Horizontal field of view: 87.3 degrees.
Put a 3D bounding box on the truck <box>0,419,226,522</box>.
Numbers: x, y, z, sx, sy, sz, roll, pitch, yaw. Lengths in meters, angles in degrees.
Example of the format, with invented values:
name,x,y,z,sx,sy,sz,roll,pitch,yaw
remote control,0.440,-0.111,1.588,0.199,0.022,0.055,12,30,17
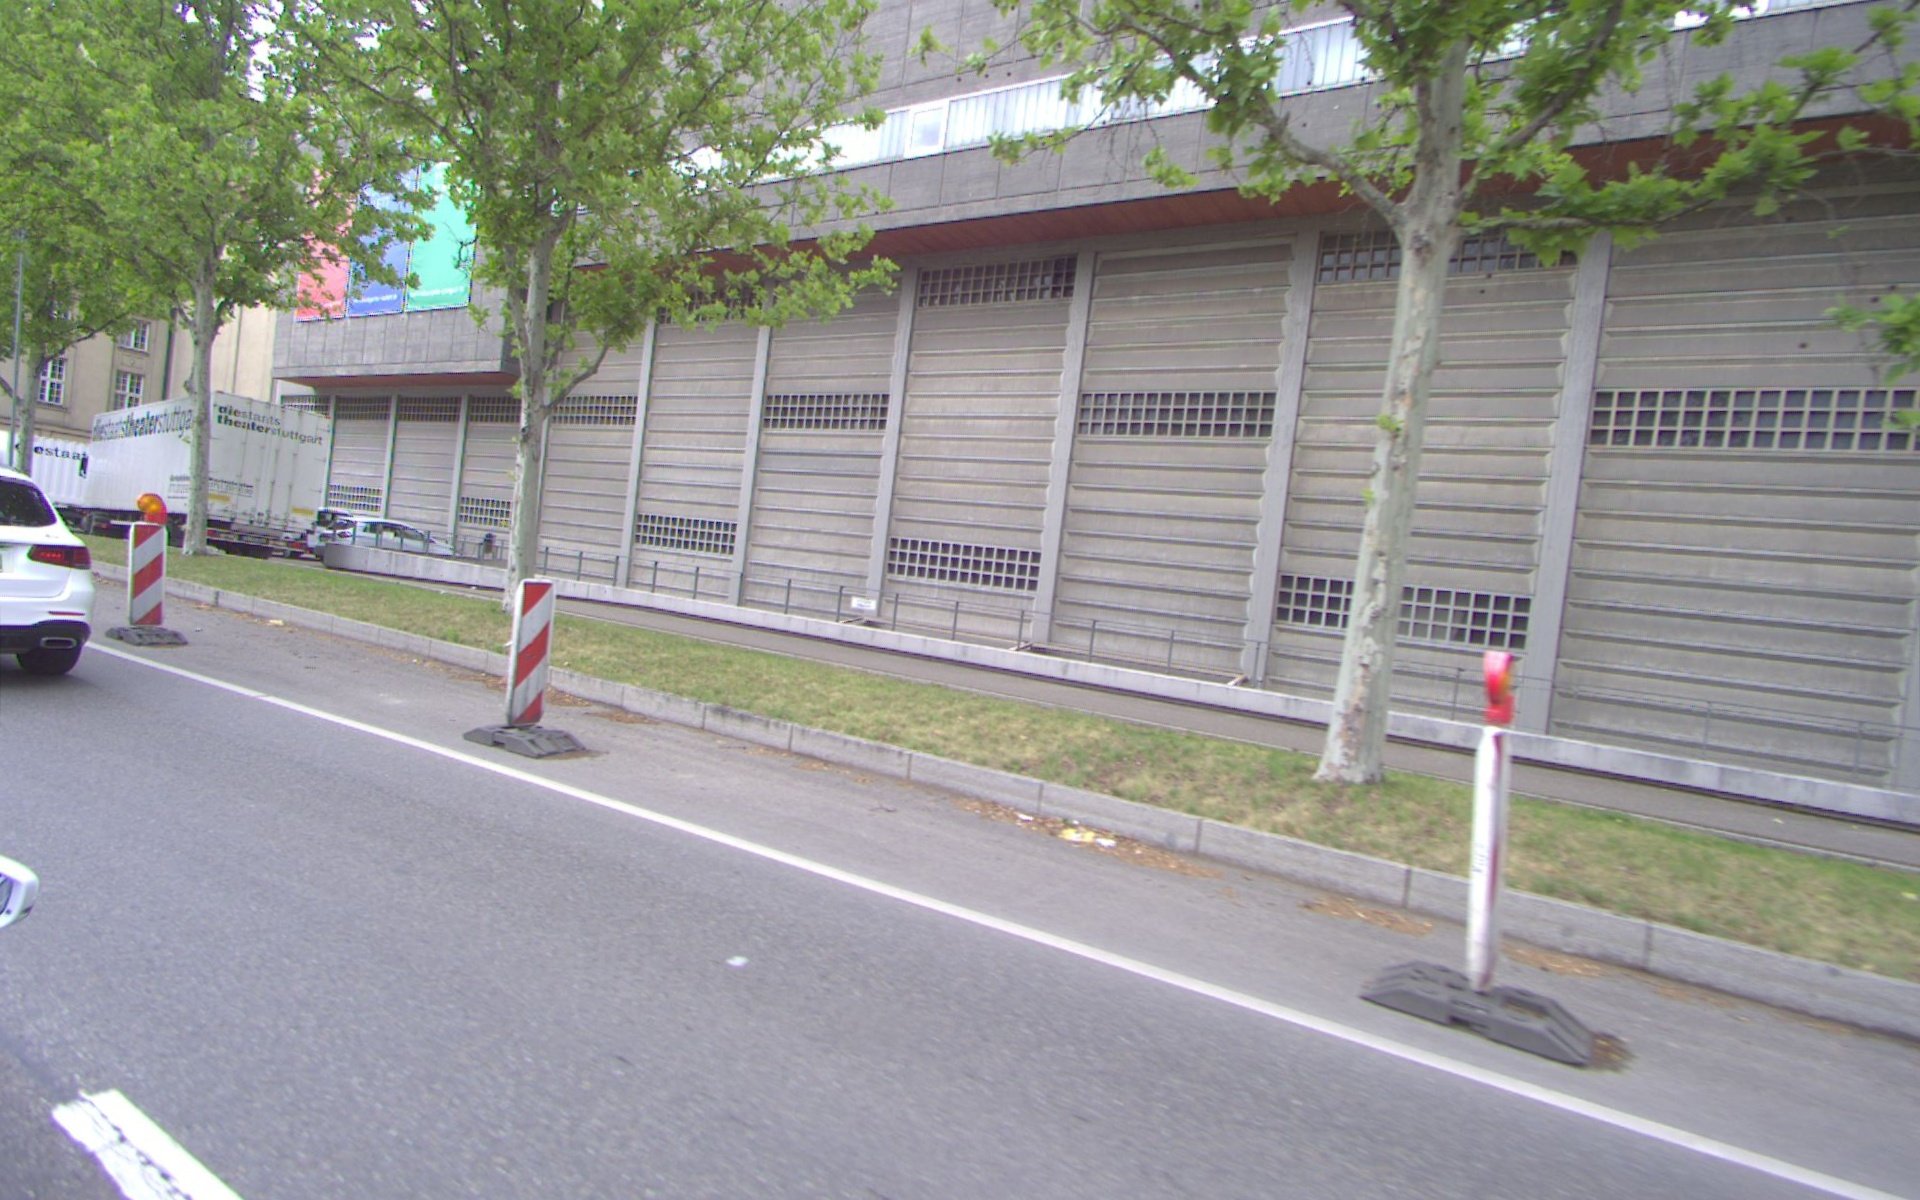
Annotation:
name,x,y,z,sx,sy,sz,roll,pitch,yaw
truck,-37.285,-5.498,42.306,2.526,3.089,10.039,7,0,32

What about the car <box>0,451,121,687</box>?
name,x,y,z,sx,sy,sz,roll,pitch,yaw
car,-8.790,-0.477,7.959,4.474,1.665,1.812,8,3,29
